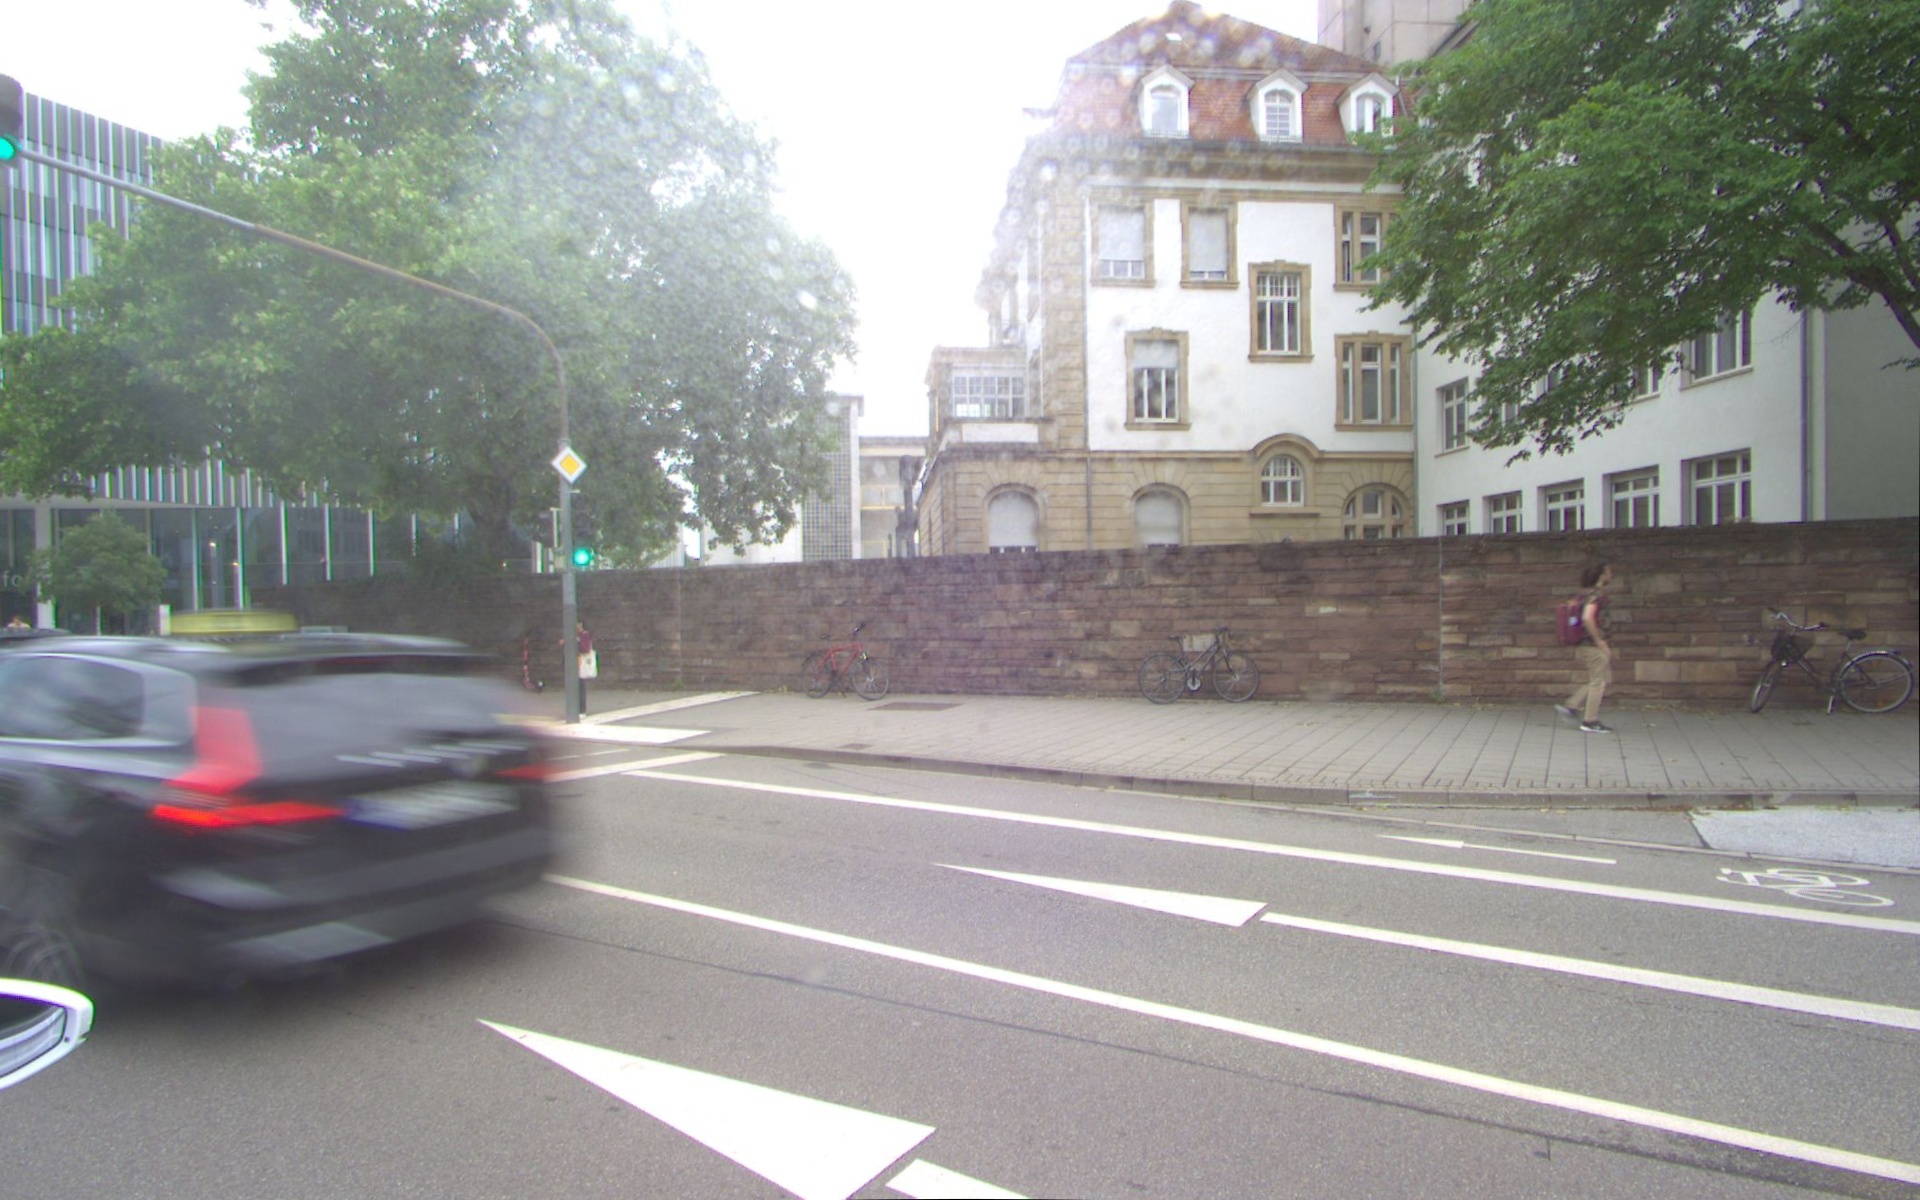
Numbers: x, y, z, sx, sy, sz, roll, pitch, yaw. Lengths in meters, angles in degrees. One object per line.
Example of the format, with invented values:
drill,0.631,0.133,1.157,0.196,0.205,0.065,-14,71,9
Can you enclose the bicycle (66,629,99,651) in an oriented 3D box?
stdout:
bicycle,-42.480,1.935,48.503,0.686,0.959,1.975,-2,1,-27

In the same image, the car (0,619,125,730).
car,-15.930,1.166,16.578,4.425,1.645,1.904,-1,-2,31

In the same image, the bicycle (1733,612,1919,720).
bicycle,10.183,0.745,11.495,1.889,1.143,0.849,-1,2,17

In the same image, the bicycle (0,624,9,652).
bicycle,-46.266,1.826,48.194,0.522,1.270,1.652,-3,2,-39

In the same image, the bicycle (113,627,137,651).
bicycle,-40.471,1.867,48.549,0.802,1.070,1.933,-2,2,-38

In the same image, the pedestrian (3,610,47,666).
pedestrian,-30.590,1.225,32.766,0.756,1.789,0.845,0,2,32

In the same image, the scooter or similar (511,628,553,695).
scooter or similar,-8.355,1.170,19.536,0.427,1.195,1.693,-3,2,-33

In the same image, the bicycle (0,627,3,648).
bicycle,-48.429,1.908,49.926,0.613,1.060,1.696,-2,2,-31

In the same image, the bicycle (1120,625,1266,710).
bicycle,3.308,0.931,14.145,1.934,1.088,0.941,-1,2,17

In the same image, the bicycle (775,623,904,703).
bicycle,-1.965,0.988,16.289,1.923,1.190,0.802,-1,3,27

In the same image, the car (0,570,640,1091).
car,-3.866,0.771,5.064,4.382,1.621,1.880,-1,-1,31

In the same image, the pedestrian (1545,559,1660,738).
pedestrian,6.933,0.502,10.840,1.018,1.846,0.629,0,2,32

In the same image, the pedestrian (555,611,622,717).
pedestrian,-5.835,0.986,15.734,0.627,1.584,0.658,0,5,32

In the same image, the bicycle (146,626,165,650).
bicycle,-39.219,1.828,48.829,0.616,1.070,1.933,-2,2,-38

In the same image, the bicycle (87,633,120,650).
bicycle,-41.608,2.011,48.670,0.510,0.726,1.525,-1,1,-11
